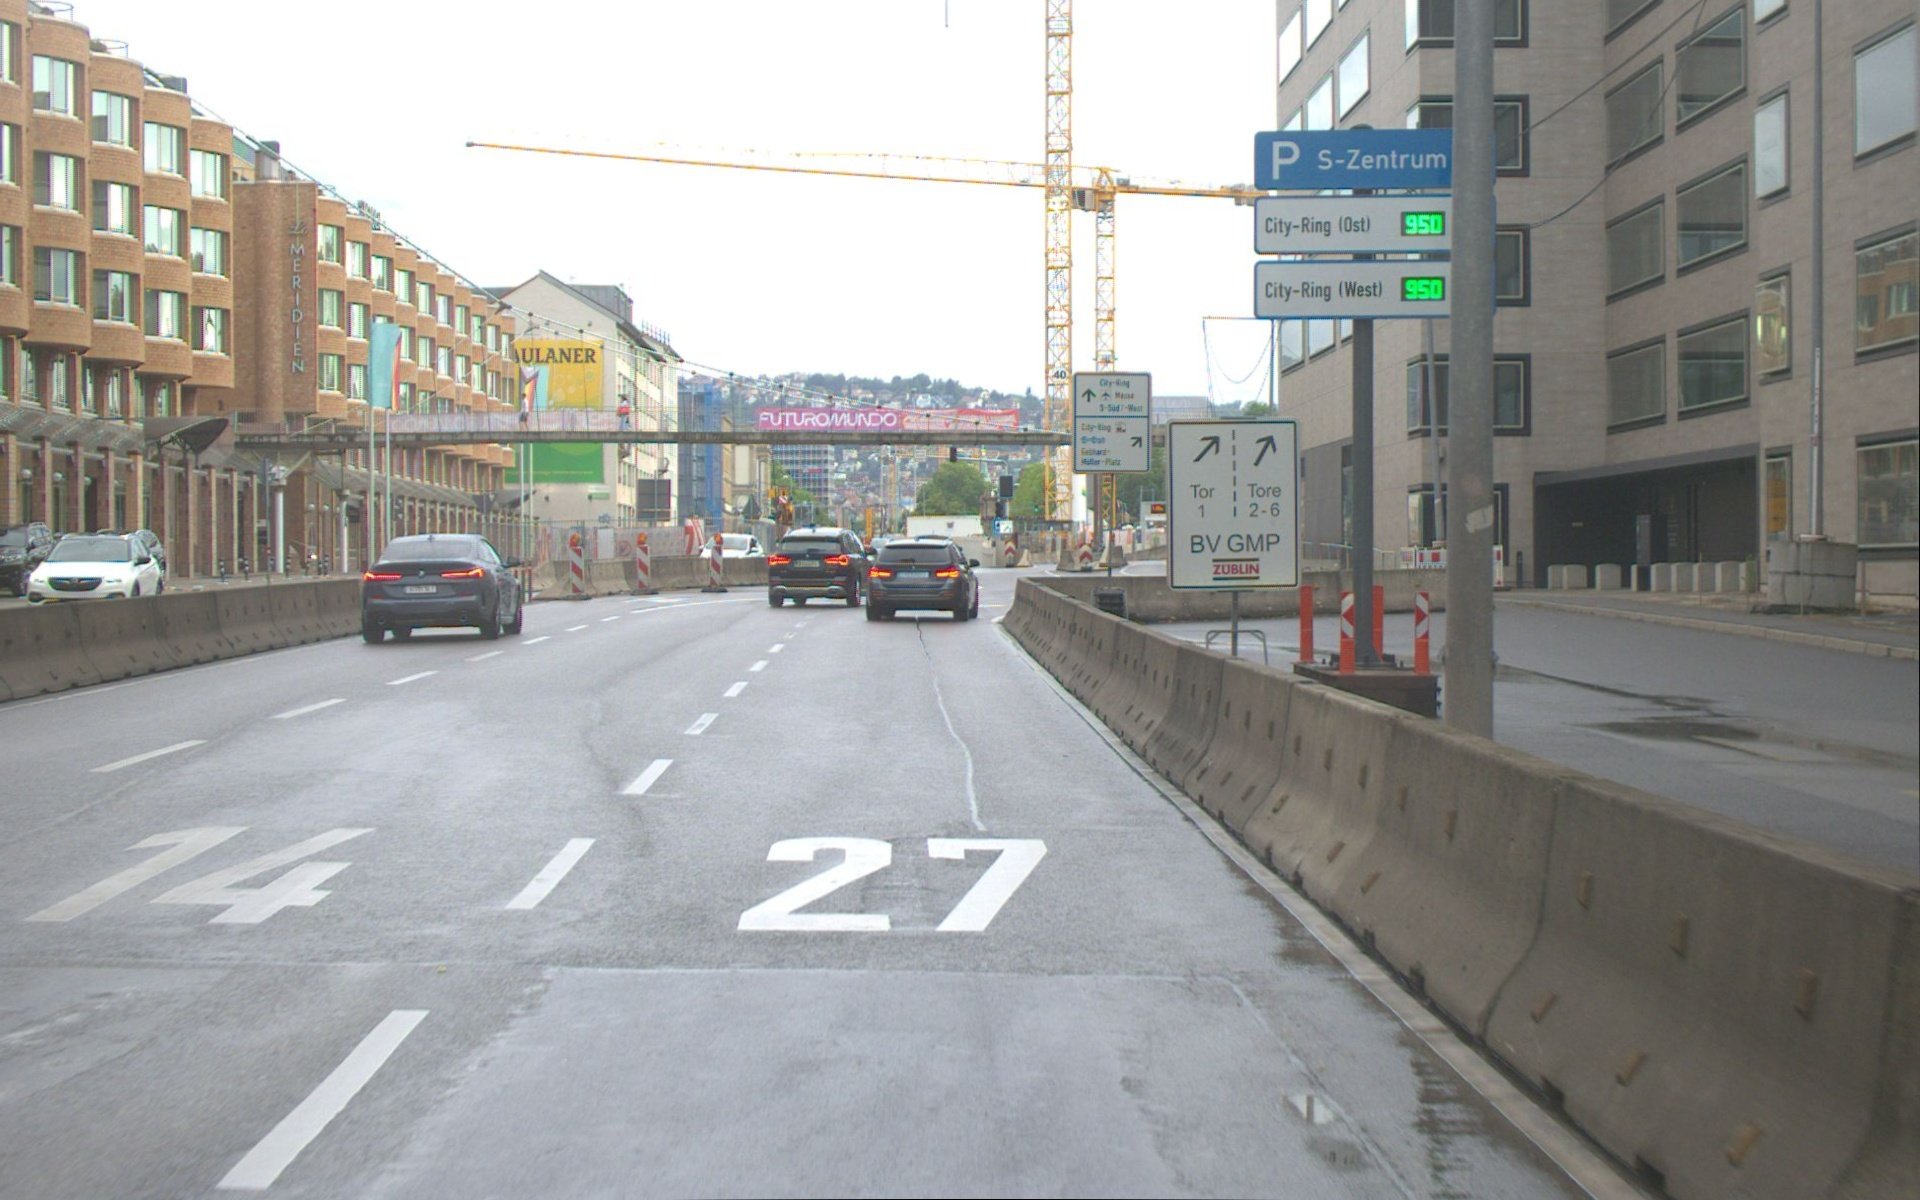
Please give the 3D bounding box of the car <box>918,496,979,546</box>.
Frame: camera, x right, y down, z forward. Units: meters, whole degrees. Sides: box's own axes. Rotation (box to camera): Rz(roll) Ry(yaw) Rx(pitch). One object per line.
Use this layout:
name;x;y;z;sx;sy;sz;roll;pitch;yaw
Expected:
car;-0.381;-2.761;120.689;1.900;1.687;4.000;-1;1;3

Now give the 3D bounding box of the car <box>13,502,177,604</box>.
car;-15.299;-0.864;61.001;1.820;1.613;4.192;-1;3;0

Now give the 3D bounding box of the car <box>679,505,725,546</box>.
car;-13.271;-3.833;177.134;1.993;2.007;4.000;-1;1;0

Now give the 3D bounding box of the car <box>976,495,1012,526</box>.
car;1.916;-5.052;193.602;1.900;1.687;4.000;-1;1;2

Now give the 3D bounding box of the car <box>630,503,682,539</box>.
car;-14.147;-3.679;160.322;1.993;1.614;4.763;-1;1;0

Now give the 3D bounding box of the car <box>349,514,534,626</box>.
car;-7.024;-0.443;46.968;1.790;1.421;4.385;-1;1;1

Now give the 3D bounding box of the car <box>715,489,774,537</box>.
car;-8.368;-3.377;134.047;1.993;1.820;4.763;-1;1;0

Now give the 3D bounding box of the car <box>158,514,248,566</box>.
car;-24.651;-1.976;112.130;1.993;1.614;4.318;-1;1;-1

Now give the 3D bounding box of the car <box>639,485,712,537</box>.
car;-9.297;-2.895;112.484;1.993;1.614;4.763;-1;1;0

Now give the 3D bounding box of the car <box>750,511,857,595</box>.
car;-3.289;-1.006;72.778;1.900;1.687;4.000;-1;1;2

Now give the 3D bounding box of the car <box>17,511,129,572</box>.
car;-24.561;-1.623;95.304;1.993;1.614;4.318;-1;1;-1

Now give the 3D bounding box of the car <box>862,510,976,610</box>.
car;-0.707;-0.734;61.601;1.900;1.687;4.000;-1;1;1

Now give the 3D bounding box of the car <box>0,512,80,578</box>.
car;-24.121;-1.409;88.010;1.993;1.614;4.763;-1;1;-1

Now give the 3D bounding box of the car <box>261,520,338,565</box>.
car;-24.831;-2.183;129.447;1.993;1.614;4.690;-1;1;-1

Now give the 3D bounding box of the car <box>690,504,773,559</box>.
car;-7.116;-2.146;107.491;1.994;1.614;4.763;-1;1;3

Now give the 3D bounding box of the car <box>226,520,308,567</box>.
car;-24.822;-2.023;123.331;1.993;1.614;4.690;-1;1;-1

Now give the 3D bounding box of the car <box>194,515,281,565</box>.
car;-24.647;-2.061;117.401;1.993;1.614;4.690;-1;1;-1
